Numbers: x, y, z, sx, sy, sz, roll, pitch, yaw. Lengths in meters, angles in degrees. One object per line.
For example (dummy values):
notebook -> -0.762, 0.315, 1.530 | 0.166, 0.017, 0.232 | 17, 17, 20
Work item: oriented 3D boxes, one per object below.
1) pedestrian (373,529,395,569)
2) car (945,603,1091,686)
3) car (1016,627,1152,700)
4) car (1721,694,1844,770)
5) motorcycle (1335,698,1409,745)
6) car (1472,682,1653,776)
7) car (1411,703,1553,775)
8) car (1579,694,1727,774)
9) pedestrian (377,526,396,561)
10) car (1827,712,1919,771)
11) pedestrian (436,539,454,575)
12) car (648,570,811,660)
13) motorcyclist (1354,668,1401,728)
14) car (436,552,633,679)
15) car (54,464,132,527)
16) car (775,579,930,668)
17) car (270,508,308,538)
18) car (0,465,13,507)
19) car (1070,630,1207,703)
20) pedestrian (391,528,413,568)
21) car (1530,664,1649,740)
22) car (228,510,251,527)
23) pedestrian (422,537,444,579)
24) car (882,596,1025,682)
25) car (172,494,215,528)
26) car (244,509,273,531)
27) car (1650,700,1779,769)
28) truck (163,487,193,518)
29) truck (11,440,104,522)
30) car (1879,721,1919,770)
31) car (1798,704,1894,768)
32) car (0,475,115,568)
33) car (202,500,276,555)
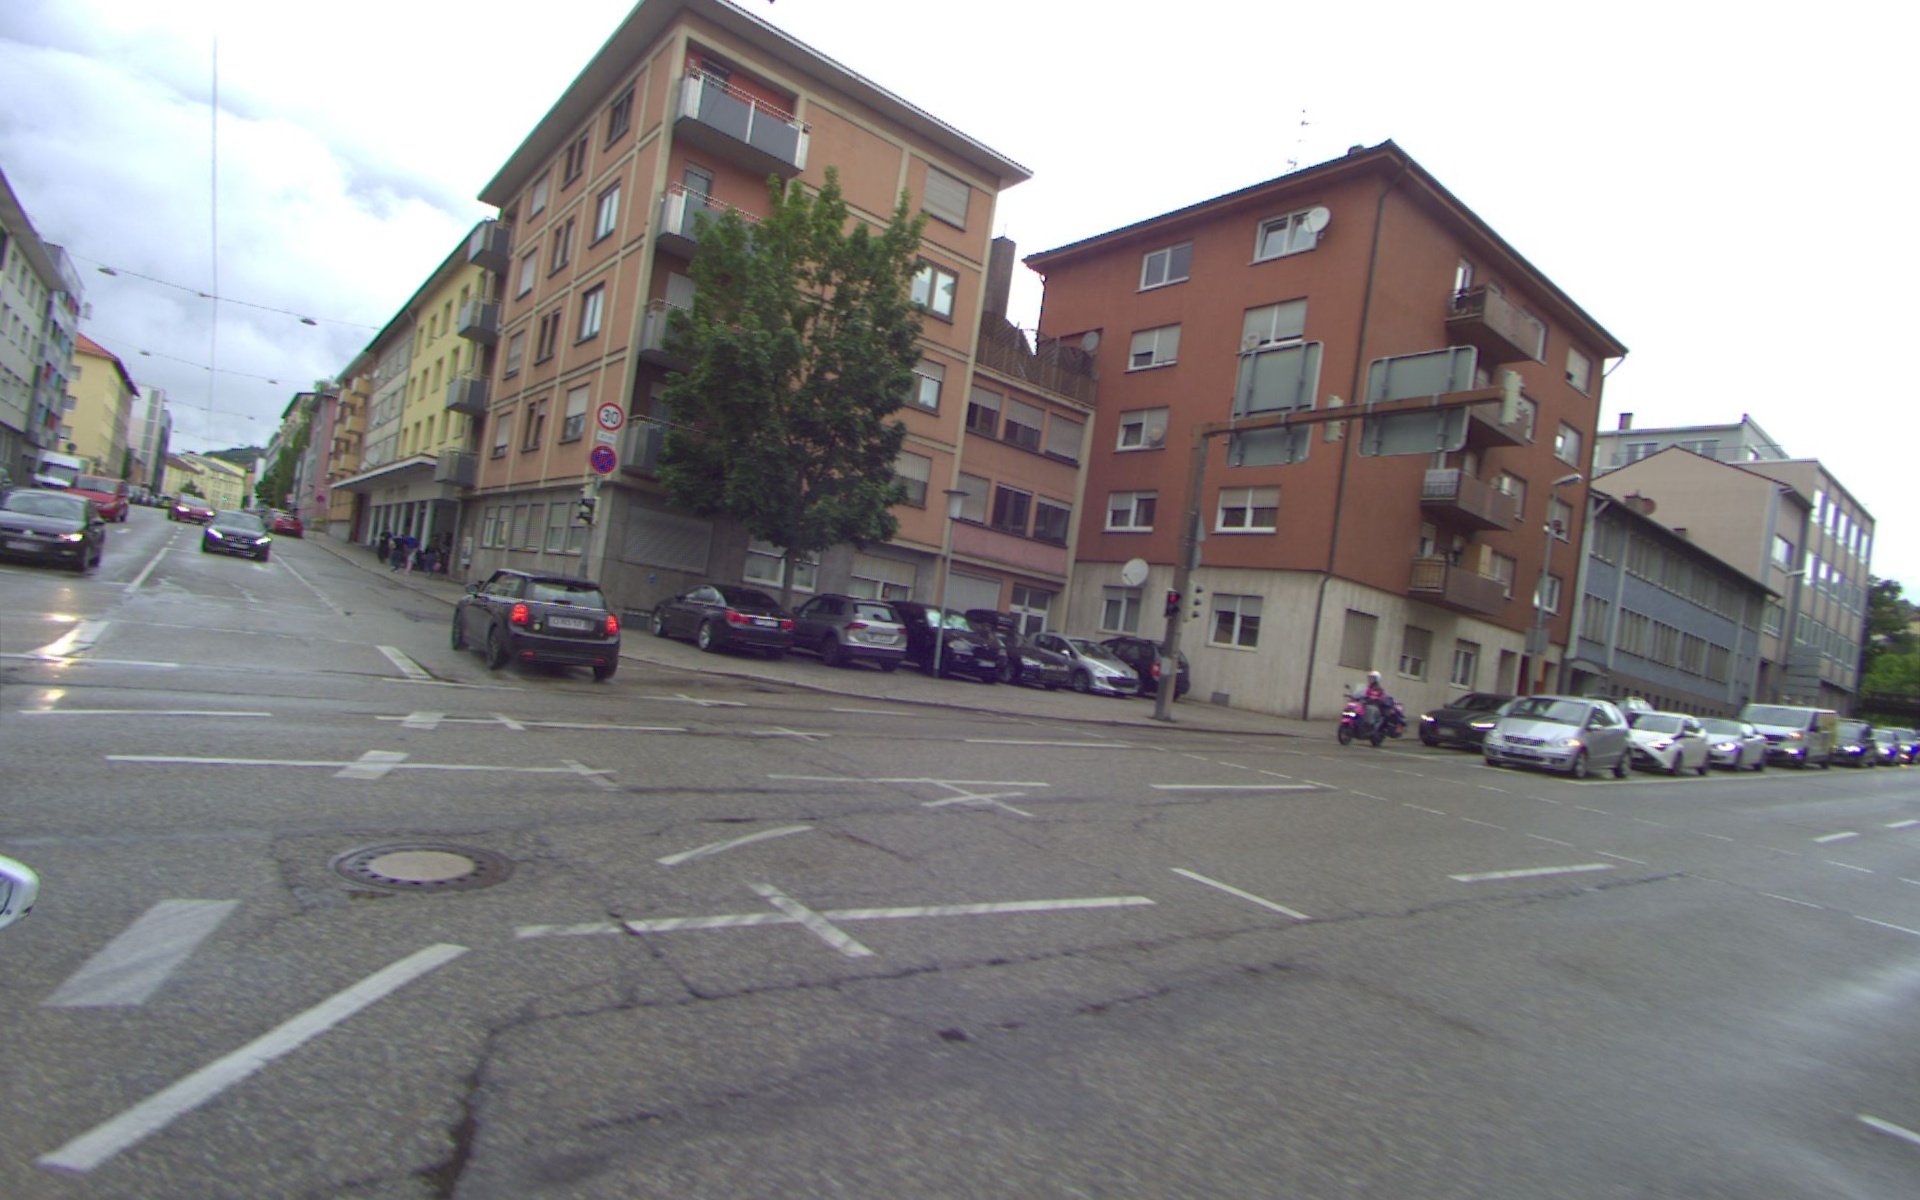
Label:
pedestrian -> -23.811, -2.097, 41.549 | 0.518, 1.557, 0.563 | 9, 2, -37
car -> 1.501, 1.178, 27.461 | 1.785, 1.717, 3.964 | 9, -2, -34
car -> 3.468, 1.771, 28.792 | 1.657, 1.599, 3.972 | 10, -4, -30
car -> 26.978, 4.352, 32.959 | 4.816, 1.937, 1.925 | 10, -3, -37
motorcycle -> 9.219, 2.691, 22.455 | 0.629, 0.938, 2.350 | 4, -1, 45
car -> 12.626, 2.714, 21.000 | 3.967, 1.573, 1.822 | 7, -1, -38
car -> 13.353, 3.525, 25.643 | 3.973, 1.459, 1.854 | 7, -2, -42
car -> 17.021, 3.299, 24.663 | 3.968, 1.573, 1.831 | 8, -1, -39
pedestrian -> -27.450, -2.721, 48.174 | 0.518, 1.575, 0.563 | 9, 2, -37
car -> 37.479, 5.807, 41.188 | 4.816, 1.879, 1.898 | 10, -3, -37
pedestrian -> -20.794, -1.735, 40.616 | 0.362, 1.416, 0.366 | 9, 2, -37
car -> -5.405, 0.276, 23.070 | 1.834, 1.573, 4.750 | 8, -1, -35
motorcyclist -> 9.317, 2.193, 22.453 | 0.654, 1.239, 0.646 | 5, 1, -45
car -> -6.572, 0.165, 15.296 | 1.652, 1.438, 4.029 | 7, 0, -38
car -> -38.261, -4.550, 44.507 | 2.054, 2.268, 4.575 | 7, -1, -36
car -> -2.699, 0.529, 24.411 | 1.975, 1.680, 3.964 | 8, -1, -34
car -> -47.662, -5.443, 71.440 | 2.006, 1.579, 5.109 | 10, -4, -34
car -> -40.103, -4.780, 40.975 | 1.715, 1.622, 3.959 | 8, -2, -38
car -> 5.354, 1.973, 30.665 | 1.977, 1.724, 3.978 | 9, -4, -25
pedestrian -> -23.235, -2.153, 41.876 | 0.518, 1.537, 0.563 | 9, 2, -37
car -> 18.958, 3.084, 30.241 | 3.974, 1.746, 1.776 | 11, -4, -39
car -> -88.069, -9.957, 122.933 | 2.006, 1.579, 3.965 | 10, -4, -34
pedestrian -> -21.149, -1.696, 40.343 | 0.477, 1.585, 0.551 | 9, 2, -37
car -> -0.265, 0.937, 25.698 | 1.969, 1.740, 3.975 | 7, -1, -26
car -> -46.159, -5.317, 60.618 | 1.834, 1.693, 3.961 | 8, -2, -36
car -> -67.107, -7.619, 96.281 | 2.006, 1.579, 3.965 | 10, -4, -34
car -> 21.549, 3.850, 28.678 | 3.966, 1.573, 1.831 | 7, -1, -37
truck -> -119.022, -14.814, 153.147 | 2.794, 3.874, 8.070 | 10, -4, -35
truck -> -54.223, -7.025, 60.660 | 2.794, 3.874, 8.070 | 10, -4, -35
car -> 43.100, 6.653, 45.075 | 4.816, 1.879, 1.898 | 10, -3, -37
car -> 32.835, 5.054, 37.241 | 4.315, 1.879, 1.710 | 9, -3, -37
car -> -18.233, -1.567, 20.015 | 1.834, 1.507, 3.960 | 7, -1, -37
car -> -24.644, -2.433, 34.377 | 1.835, 1.507, 3.960 | 8, -2, -37
